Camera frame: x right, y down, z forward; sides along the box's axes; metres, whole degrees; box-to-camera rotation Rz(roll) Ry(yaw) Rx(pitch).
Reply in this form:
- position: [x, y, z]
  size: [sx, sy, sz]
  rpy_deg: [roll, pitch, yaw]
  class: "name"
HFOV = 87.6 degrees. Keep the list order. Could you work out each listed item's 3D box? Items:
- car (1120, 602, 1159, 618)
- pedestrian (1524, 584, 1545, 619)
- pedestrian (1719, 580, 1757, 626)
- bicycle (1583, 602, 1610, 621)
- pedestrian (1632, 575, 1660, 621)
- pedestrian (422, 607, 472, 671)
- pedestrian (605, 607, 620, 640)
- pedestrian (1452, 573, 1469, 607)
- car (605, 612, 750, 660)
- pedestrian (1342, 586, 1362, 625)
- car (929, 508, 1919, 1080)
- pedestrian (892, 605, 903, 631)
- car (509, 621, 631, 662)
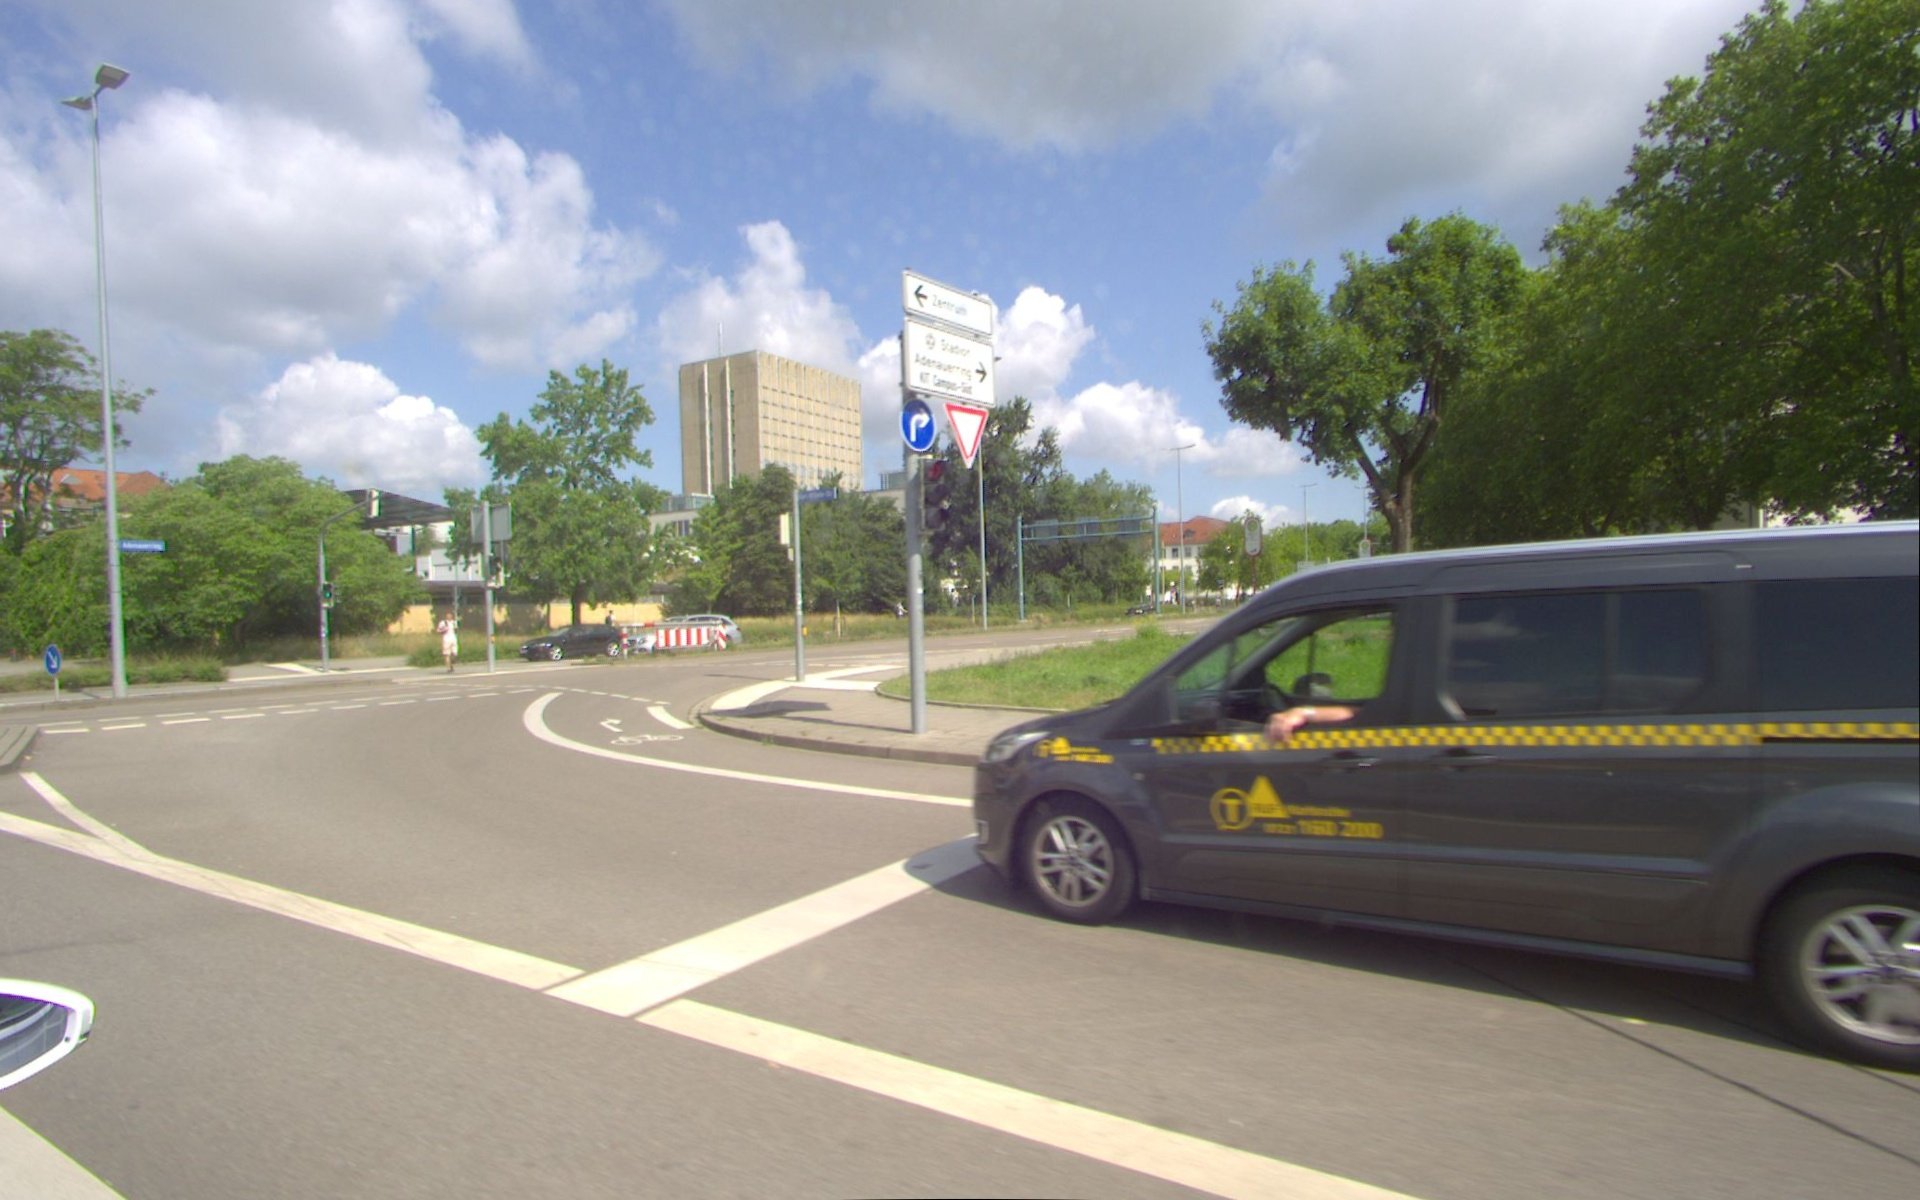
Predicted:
- position: [15.412, 0.857, 85.876]
  size: [1.774, 1.289, 3.973]
  rpy_deg: [-1, 0, 36]
  class: "car"
- position: [30.197, 0.060, 52.626]
  size: [0.874, 1.804, 0.766]
  rpy_deg: [-1, 1, 32]
  class: "pedestrian"
- position: [26.913, 0.113, 34.638]
  size: [0.712, 1.554, 0.724]
  rpy_deg: [-2, 0, 1]
  class: "pedestrian"
- position: [29.730, 0.529, 46.771]
  size: [0.955, 0.860, 0.482]
  rpy_deg: [-1, 1, 10]
  class: "bicycle"
- position: [26.481, -0.090, 38.663]
  size: [0.651, 1.746, 0.742]
  rpy_deg: [-1, 1, 13]
  class: "pedestrian"
- position: [-15.712, 1.183, 30.673]
  size: [1.161, 1.881, 0.697]
  rpy_deg: [-3, 0, 22]
  class: "pedestrian"
- position: [-17.585, 1.184, 50.676]
  size: [0.534, 1.628, 0.522]
  rpy_deg: [-1, -1, 28]
  class: "pedestrian"
- position: [27.657, -0.552, 55.362]
  size: [0.739, 1.803, 0.766]
  rpy_deg: [-2, 1, 32]
  class: "pedestrian"
- position: [-10.066, 1.260, 36.041]
  size: [2.037, 1.460, 4.747]
  rpy_deg: [-4, -1, 36]
  class: "car"
- position: [18.438, 0.259, 47.062]
  size: [0.738, 1.803, 0.961]
  rpy_deg: [-2, 1, 28]
  class: "pedestrian"
- position: [2.253, 0.650, 4.809]
  size: [4.607, 1.808, 1.844]
  rpy_deg: [-1, -1, 34]
  class: "car"
- position: [-4.350, 1.286, 69.924]
  size: [0.534, 1.791, 0.522]
  rpy_deg: [-1, -1, 28]
  class: "pedestrian"
- position: [-15.637, 1.625, 40.318]
  size: [1.974, 1.396, 4.131]
  rpy_deg: [0, 1, 37]
  class: "car"
